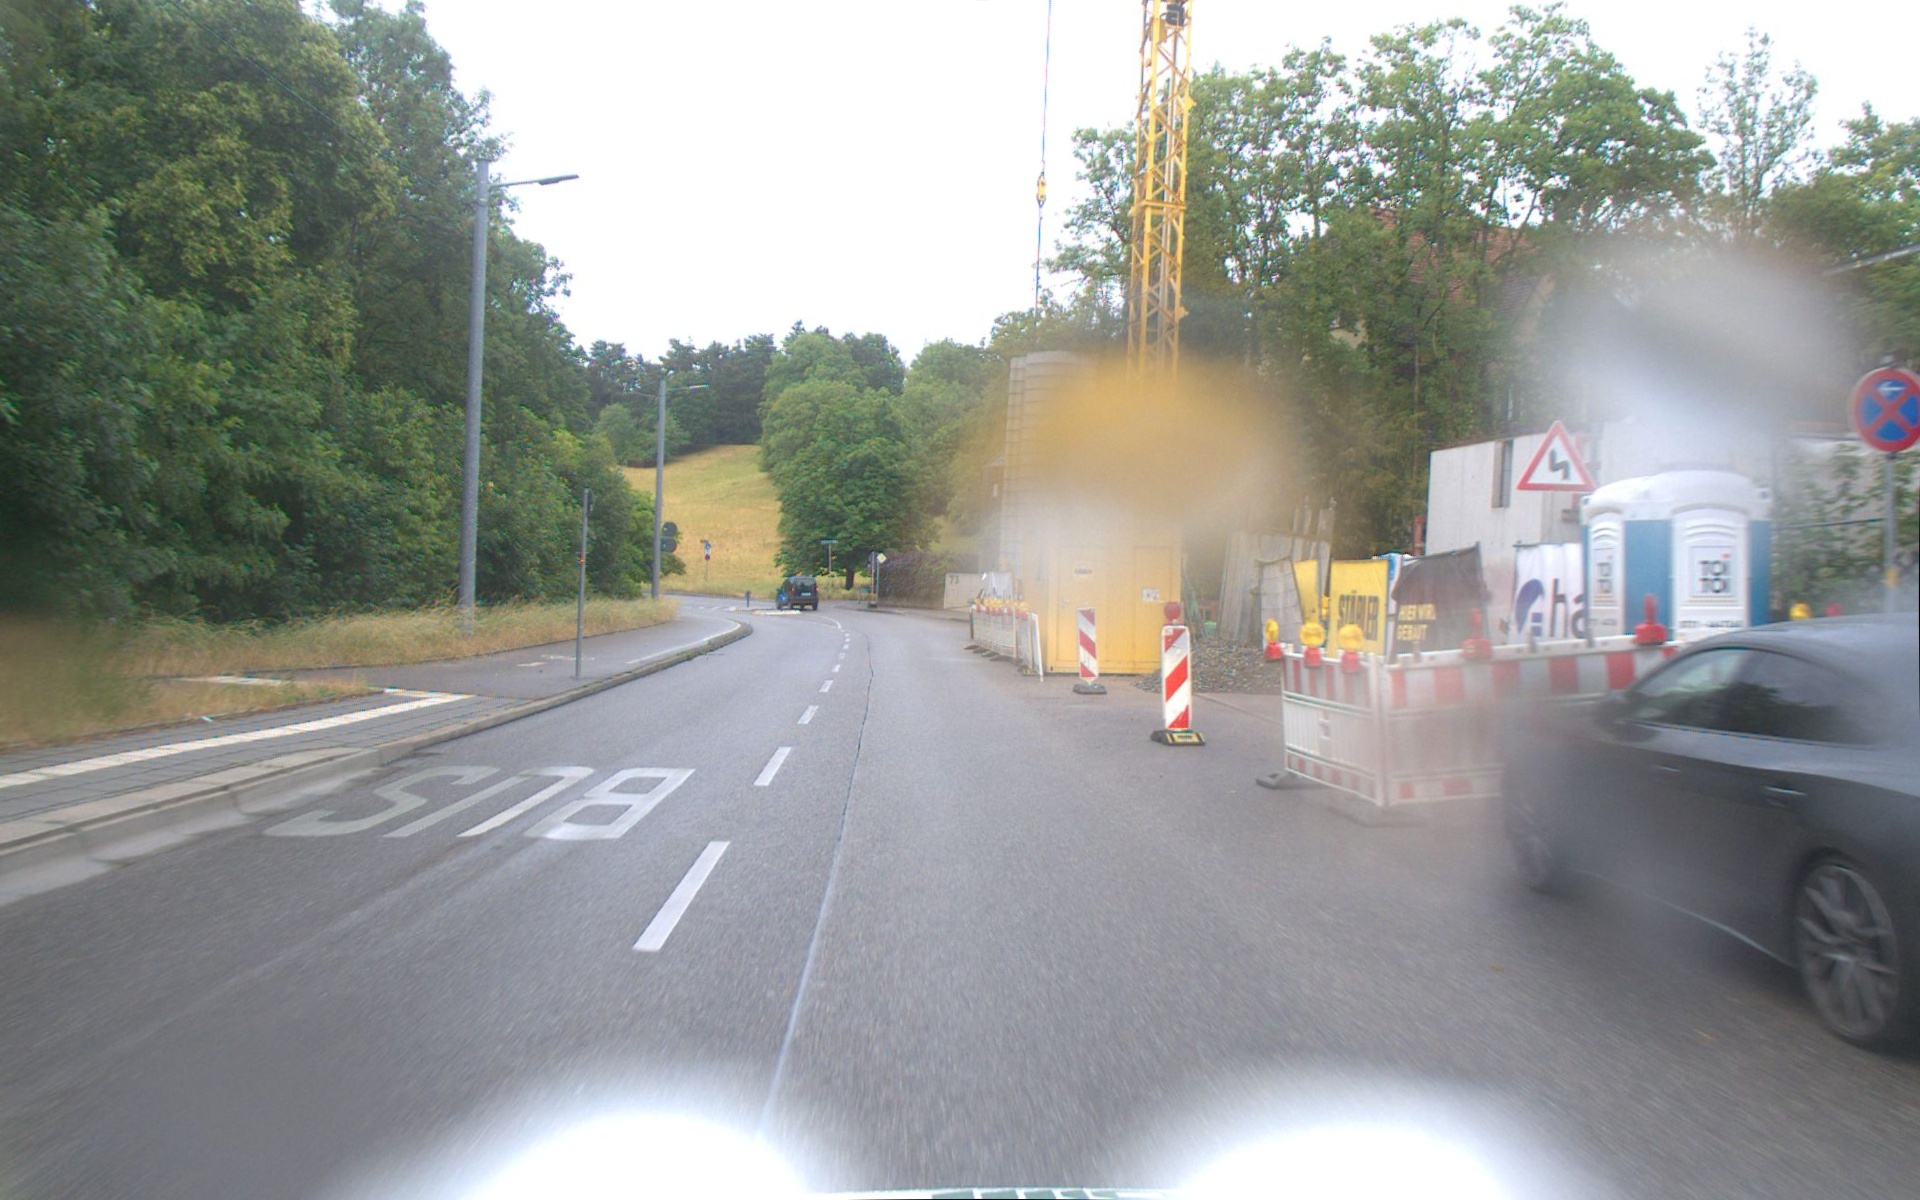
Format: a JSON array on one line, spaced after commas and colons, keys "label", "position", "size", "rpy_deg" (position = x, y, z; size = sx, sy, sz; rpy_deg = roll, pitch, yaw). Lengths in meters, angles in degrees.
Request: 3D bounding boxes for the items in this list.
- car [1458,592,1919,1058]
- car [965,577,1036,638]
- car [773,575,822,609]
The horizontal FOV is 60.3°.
[{"label": "car", "position": [3.884, 0.722, 6.950], "size": [1.893, 1.447, 4.834], "rpy_deg": [1, 0, -3]}, {"label": "car", "position": [1.166, 0.199, 50.025], "size": [1.710, 1.735, 4.498], "rpy_deg": [0, 1, -4]}, {"label": "car", "position": [-9.125, -0.463, 92.820], "size": [1.902, 1.781, 3.980], "rpy_deg": [1, 1, -18]}]
